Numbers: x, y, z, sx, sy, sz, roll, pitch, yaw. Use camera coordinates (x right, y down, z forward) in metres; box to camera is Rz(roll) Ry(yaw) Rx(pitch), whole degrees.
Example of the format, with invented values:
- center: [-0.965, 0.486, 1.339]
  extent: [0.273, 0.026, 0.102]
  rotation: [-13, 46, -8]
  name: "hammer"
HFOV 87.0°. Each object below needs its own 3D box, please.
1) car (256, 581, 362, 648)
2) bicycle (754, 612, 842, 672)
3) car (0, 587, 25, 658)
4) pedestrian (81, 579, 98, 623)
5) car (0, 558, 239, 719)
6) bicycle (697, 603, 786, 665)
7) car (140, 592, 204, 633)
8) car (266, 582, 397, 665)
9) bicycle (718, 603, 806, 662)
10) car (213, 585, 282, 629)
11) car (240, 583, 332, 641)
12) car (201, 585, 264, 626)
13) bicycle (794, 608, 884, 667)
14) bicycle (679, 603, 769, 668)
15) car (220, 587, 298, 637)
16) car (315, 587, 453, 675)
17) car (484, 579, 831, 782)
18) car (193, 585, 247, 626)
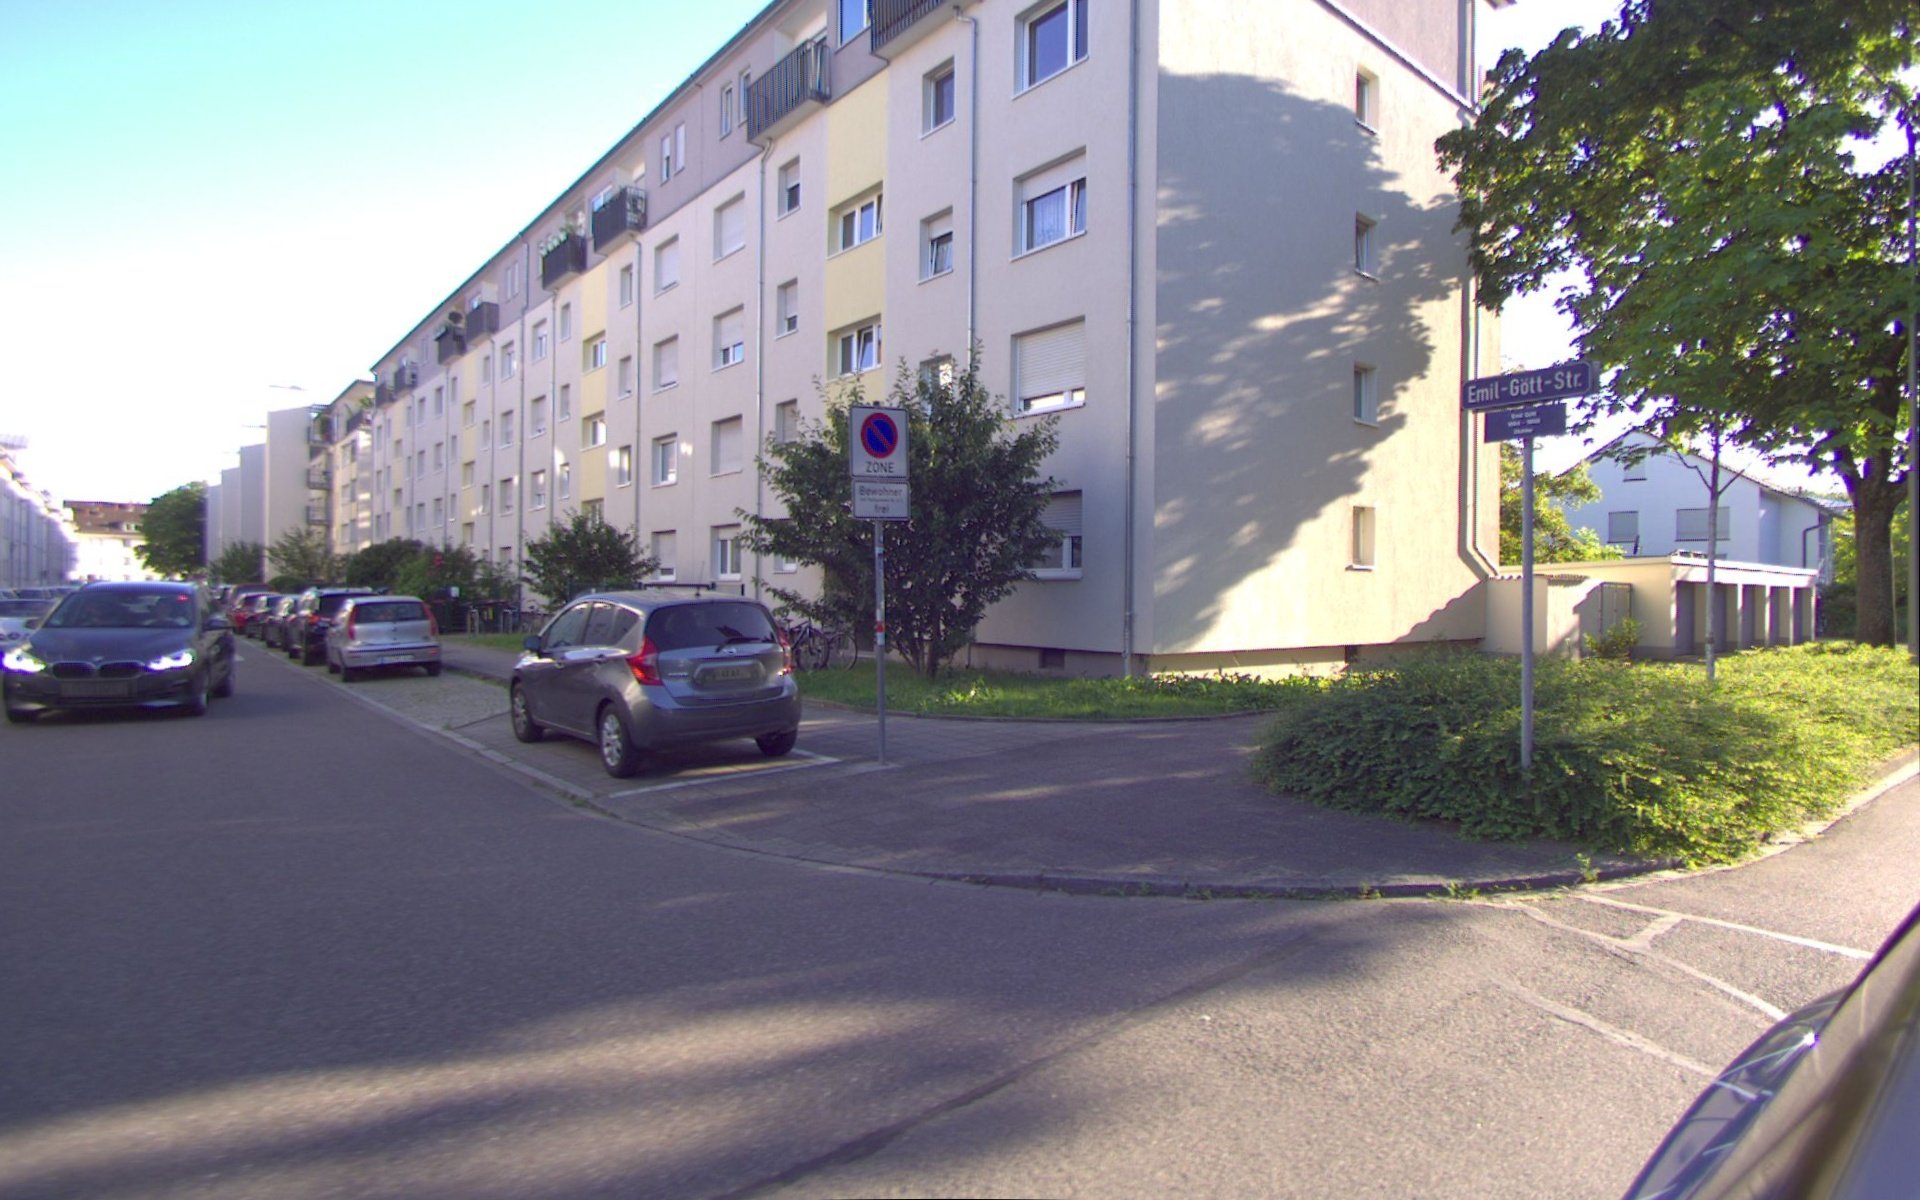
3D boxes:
- center: [-18.059, 0.375, 28.009]
  extent: [1.866, 1.688, 3.770]
  rotation: [2, -1, -42]
  name: "car"
- center: [-2.893, 0.713, 17.918]
  extent: [0.536, 0.971, 1.972]
  rotation: [1, 0, -43]
  name: "bicycle"
- center: [-20.090, 0.427, 20.455]
  extent: [1.684, 1.369, 3.792]
  rotation: [0, 0, -42]
  name: "car"
- center: [-40.703, 0.070, 47.332]
  extent: [0.545, 2.039, 0.808]
  rotation: [1, -1, -41]
  name: "pedestrian"
- center: [-10.464, 0.435, 12.878]
  extent: [1.734, 1.695, 4.282]
  rotation: [0, -1, -31]
  name: "car"
- center: [-3.709, 0.538, 17.055]
  extent: [0.536, 0.971, 1.972]
  rotation: [1, 0, -43]
  name: "bicycle"
- center: [-28.523, 0.421, 36.596]
  extent: [1.718, 1.409, 3.498]
  rotation: [1, -1, -39]
  name: "car"
- center: [-14.277, 0.489, 22.923]
  extent: [1.866, 1.688, 3.770]
  rotation: [2, -1, -42]
  name: "car"
- center: [-3.488, 0.542, 17.708]
  extent: [0.536, 0.971, 1.972]
  rotation: [1, 0, -43]
  name: "bicycle"
- center: [-29.227, 0.279, 41.485]
  extent: [1.866, 1.688, 3.770]
  rotation: [2, -1, -42]
  name: "car"
- center: [-21.339, 0.347, 31.991]
  extent: [1.866, 1.688, 3.770]
  rotation: [2, -1, -42]
  name: "car"
- center: [-32.694, 0.234, 45.457]
  extent: [1.866, 1.688, 3.770]
  rotation: [2, -1, -42]
  name: "car"
- center: [-2.192, 0.643, 18.078]
  extent: [0.536, 0.971, 1.972]
  rotation: [1, 0, -43]
  name: "bicycle"
- center: [-3.830, 0.547, 16.315]
  extent: [0.536, 0.971, 1.903]
  rotation: [1, 0, -43]
  name: "bicycle"
- center: [-25.768, 0.417, 37.160]
  extent: [1.866, 1.688, 3.770]
  rotation: [2, -1, -42]
  name: "car"
- center: [-10.964, 0.538, 19.166]
  extent: [1.718, 1.513, 3.498]
  rotation: [1, -1, -39]
  name: "car"
- center: [-3.093, 0.602, 9.799]
  extent: [1.697, 1.533, 4.047]
  rotation: [-1, 1, -41]
  name: "car"
- center: [-38.398, 0.290, 52.480]
  extent: [1.965, 2.039, 3.993]
  rotation: [0, 0, -41]
  name: "car"
